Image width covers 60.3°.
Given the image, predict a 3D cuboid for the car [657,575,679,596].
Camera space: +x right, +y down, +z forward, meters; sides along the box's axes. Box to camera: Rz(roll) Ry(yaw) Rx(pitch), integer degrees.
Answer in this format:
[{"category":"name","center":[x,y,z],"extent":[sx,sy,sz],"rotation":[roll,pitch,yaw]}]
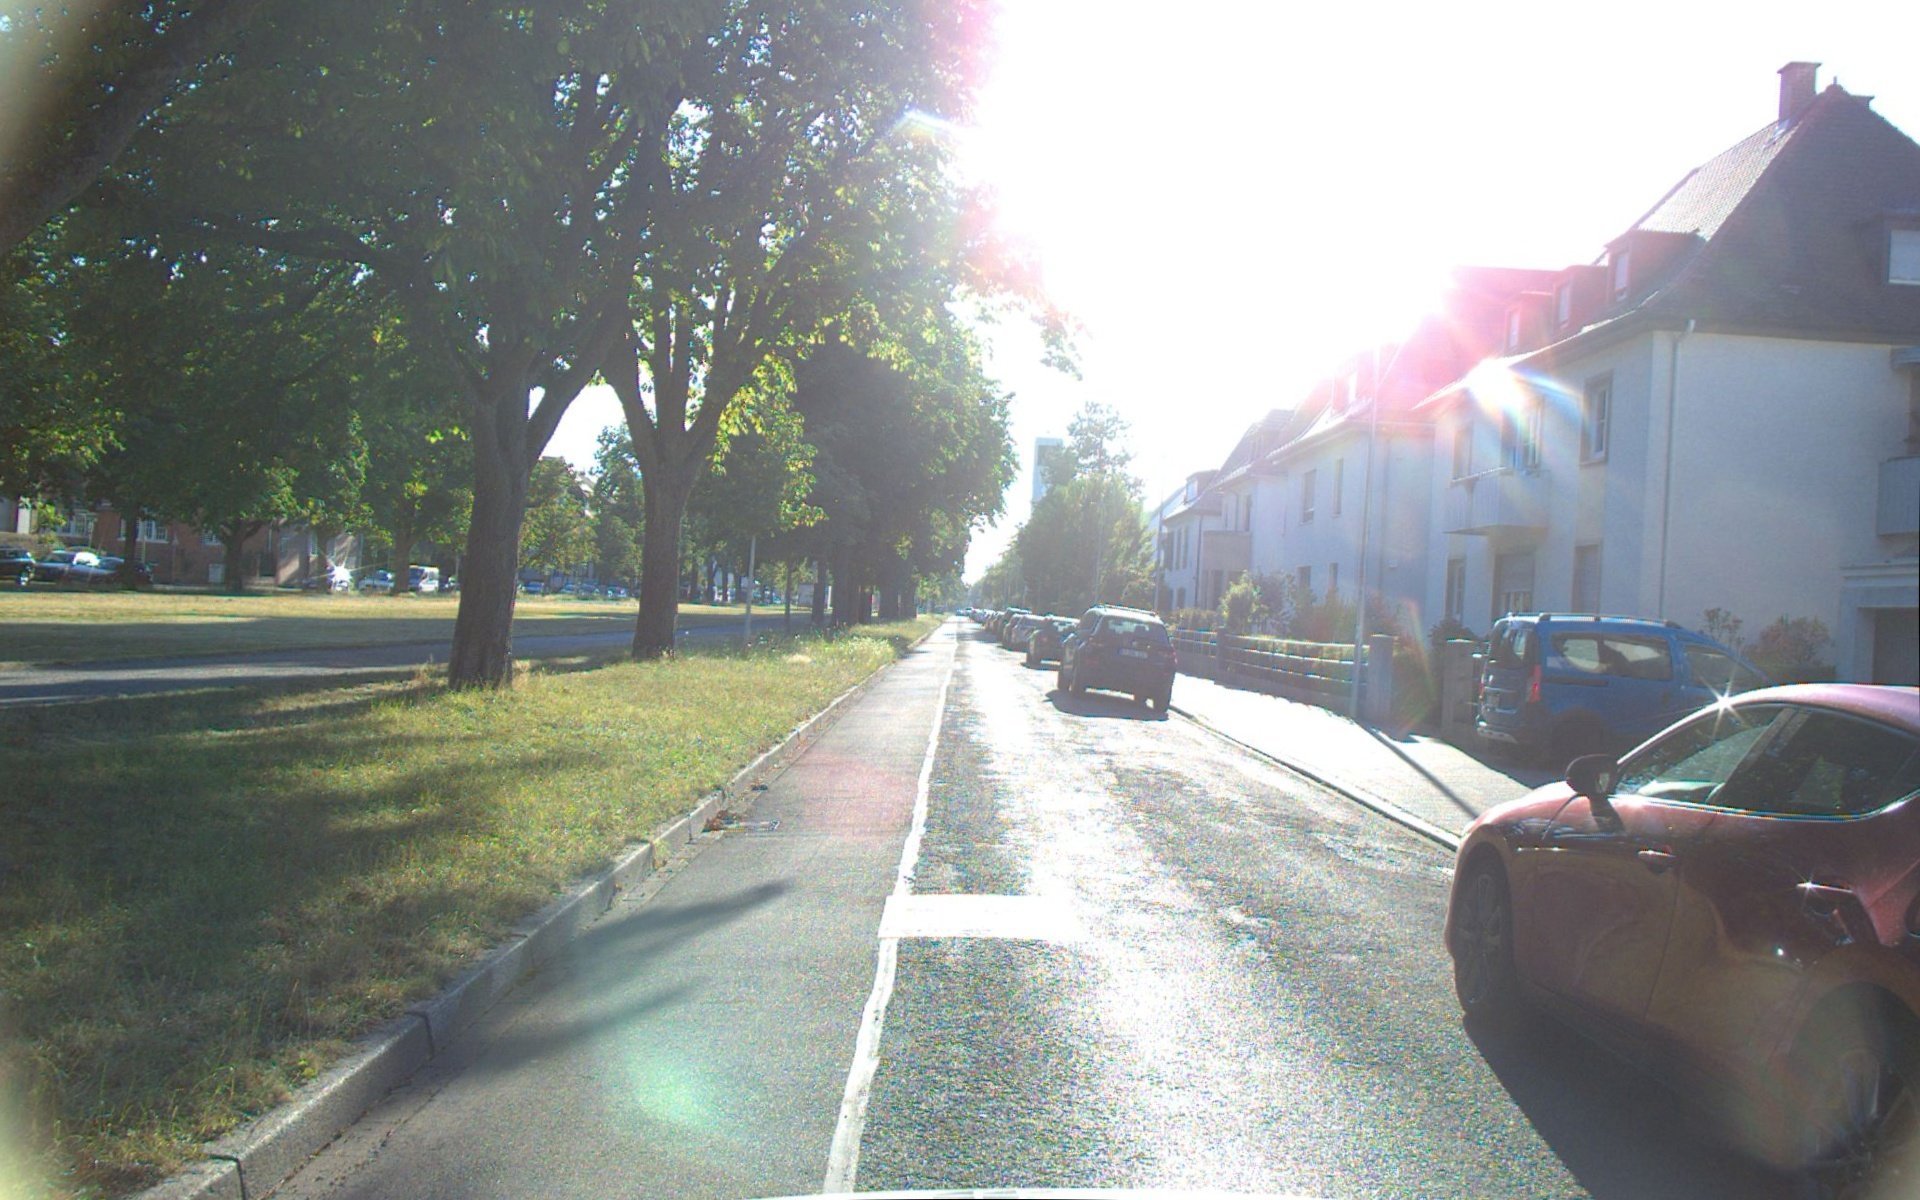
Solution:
[{"category":"car","center":[-32.040,-1.600,181.742],"extent":[1.621,1.972,3.566],"rotation":[6,-3,-1]}]

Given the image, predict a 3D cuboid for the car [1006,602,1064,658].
[{"category":"car","center":[3.058,1.240,68.403],"extent":[1.954,2.048,3.999],"rotation":[6,-2,-1]}]

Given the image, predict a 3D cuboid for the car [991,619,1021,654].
[{"category":"car","center":[2.984,2.391,108.246],"extent":[1.657,2.048,3.624],"rotation":[6,-2,0]}]

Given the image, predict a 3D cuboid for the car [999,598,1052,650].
[{"category":"car","center":[2.911,1.099,74.371],"extent":[1.954,2.048,3.999],"rotation":[6,-2,-1]}]

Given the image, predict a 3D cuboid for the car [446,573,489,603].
[{"category":"car","center":[-34.167,-0.828,114.824],"extent":[1.694,1.718,3.876],"rotation":[6,-3,-2]}]

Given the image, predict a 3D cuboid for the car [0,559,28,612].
[{"category":"car","center":[-38.882,-0.661,65.160],"extent":[1.954,2.048,3.998],"rotation":[6,-2,-2]}]

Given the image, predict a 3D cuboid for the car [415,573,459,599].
[{"category":"car","center":[-39.290,-1.009,124.386],"extent":[1.954,1.646,3.998],"rotation":[6,-2,-2]}]

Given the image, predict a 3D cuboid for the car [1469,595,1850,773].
[{"category":"car","center":[8.447,1.074,20.162],"extent":[3.909,1.854,1.758],"rotation":[3,-6,-5]}]

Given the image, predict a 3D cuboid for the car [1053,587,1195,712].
[{"category":"car","center":[2.961,0.857,30.771],"extent":[1.954,1.936,4.388],"rotation":[7,0,-1]}]

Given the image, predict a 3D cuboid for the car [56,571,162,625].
[{"category":"car","center":[-33.196,-0.032,64.655],"extent":[1.775,1.811,4.122],"rotation":[6,-2,1]}]

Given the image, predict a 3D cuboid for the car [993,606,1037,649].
[{"category":"car","center":[2.922,1.468,88.482],"extent":[1.954,2.048,3.999],"rotation":[6,-2,-1]}]

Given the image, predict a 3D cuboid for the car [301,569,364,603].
[{"category":"car","center":[-38.229,-0.817,100.836],"extent":[1.953,1.687,4.355],"rotation":[6,-2,1]}]

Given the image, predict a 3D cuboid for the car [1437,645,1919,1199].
[{"category":"car","center":[2.960,0.919,5.057],"extent":[1.675,1.383,4.202],"rotation":[6,-2,0]}]

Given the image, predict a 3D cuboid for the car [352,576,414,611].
[{"category":"car","center":[-33.259,-0.361,95.418],"extent":[1.982,1.687,3.983],"rotation":[6,-2,0]}]

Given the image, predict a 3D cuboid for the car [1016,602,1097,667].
[{"category":"car","center":[2.776,1.016,48.408],"extent":[1.953,1.682,3.999],"rotation":[4,-2,-1]}]

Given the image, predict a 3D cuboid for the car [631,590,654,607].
[{"category":"car","center":[-39.017,-0.126,203.266],"extent":[1.842,1.782,3.796],"rotation":[6,-2,0]}]

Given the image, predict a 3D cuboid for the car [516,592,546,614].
[{"category":"car","center":[-39.234,0.301,151.385],"extent":[1.694,1.792,3.345],"rotation":[6,-2,0]}]

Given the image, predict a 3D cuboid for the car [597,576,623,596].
[{"category":"car","center":[-39.703,-1.579,187.892],"extent":[1.954,1.946,3.999],"rotation":[6,-2,0]}]

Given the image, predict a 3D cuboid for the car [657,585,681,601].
[{"category":"car","center":[-33.143,-0.792,188.598],"extent":[1.953,1.764,4.000],"rotation":[3,0,0]}]
